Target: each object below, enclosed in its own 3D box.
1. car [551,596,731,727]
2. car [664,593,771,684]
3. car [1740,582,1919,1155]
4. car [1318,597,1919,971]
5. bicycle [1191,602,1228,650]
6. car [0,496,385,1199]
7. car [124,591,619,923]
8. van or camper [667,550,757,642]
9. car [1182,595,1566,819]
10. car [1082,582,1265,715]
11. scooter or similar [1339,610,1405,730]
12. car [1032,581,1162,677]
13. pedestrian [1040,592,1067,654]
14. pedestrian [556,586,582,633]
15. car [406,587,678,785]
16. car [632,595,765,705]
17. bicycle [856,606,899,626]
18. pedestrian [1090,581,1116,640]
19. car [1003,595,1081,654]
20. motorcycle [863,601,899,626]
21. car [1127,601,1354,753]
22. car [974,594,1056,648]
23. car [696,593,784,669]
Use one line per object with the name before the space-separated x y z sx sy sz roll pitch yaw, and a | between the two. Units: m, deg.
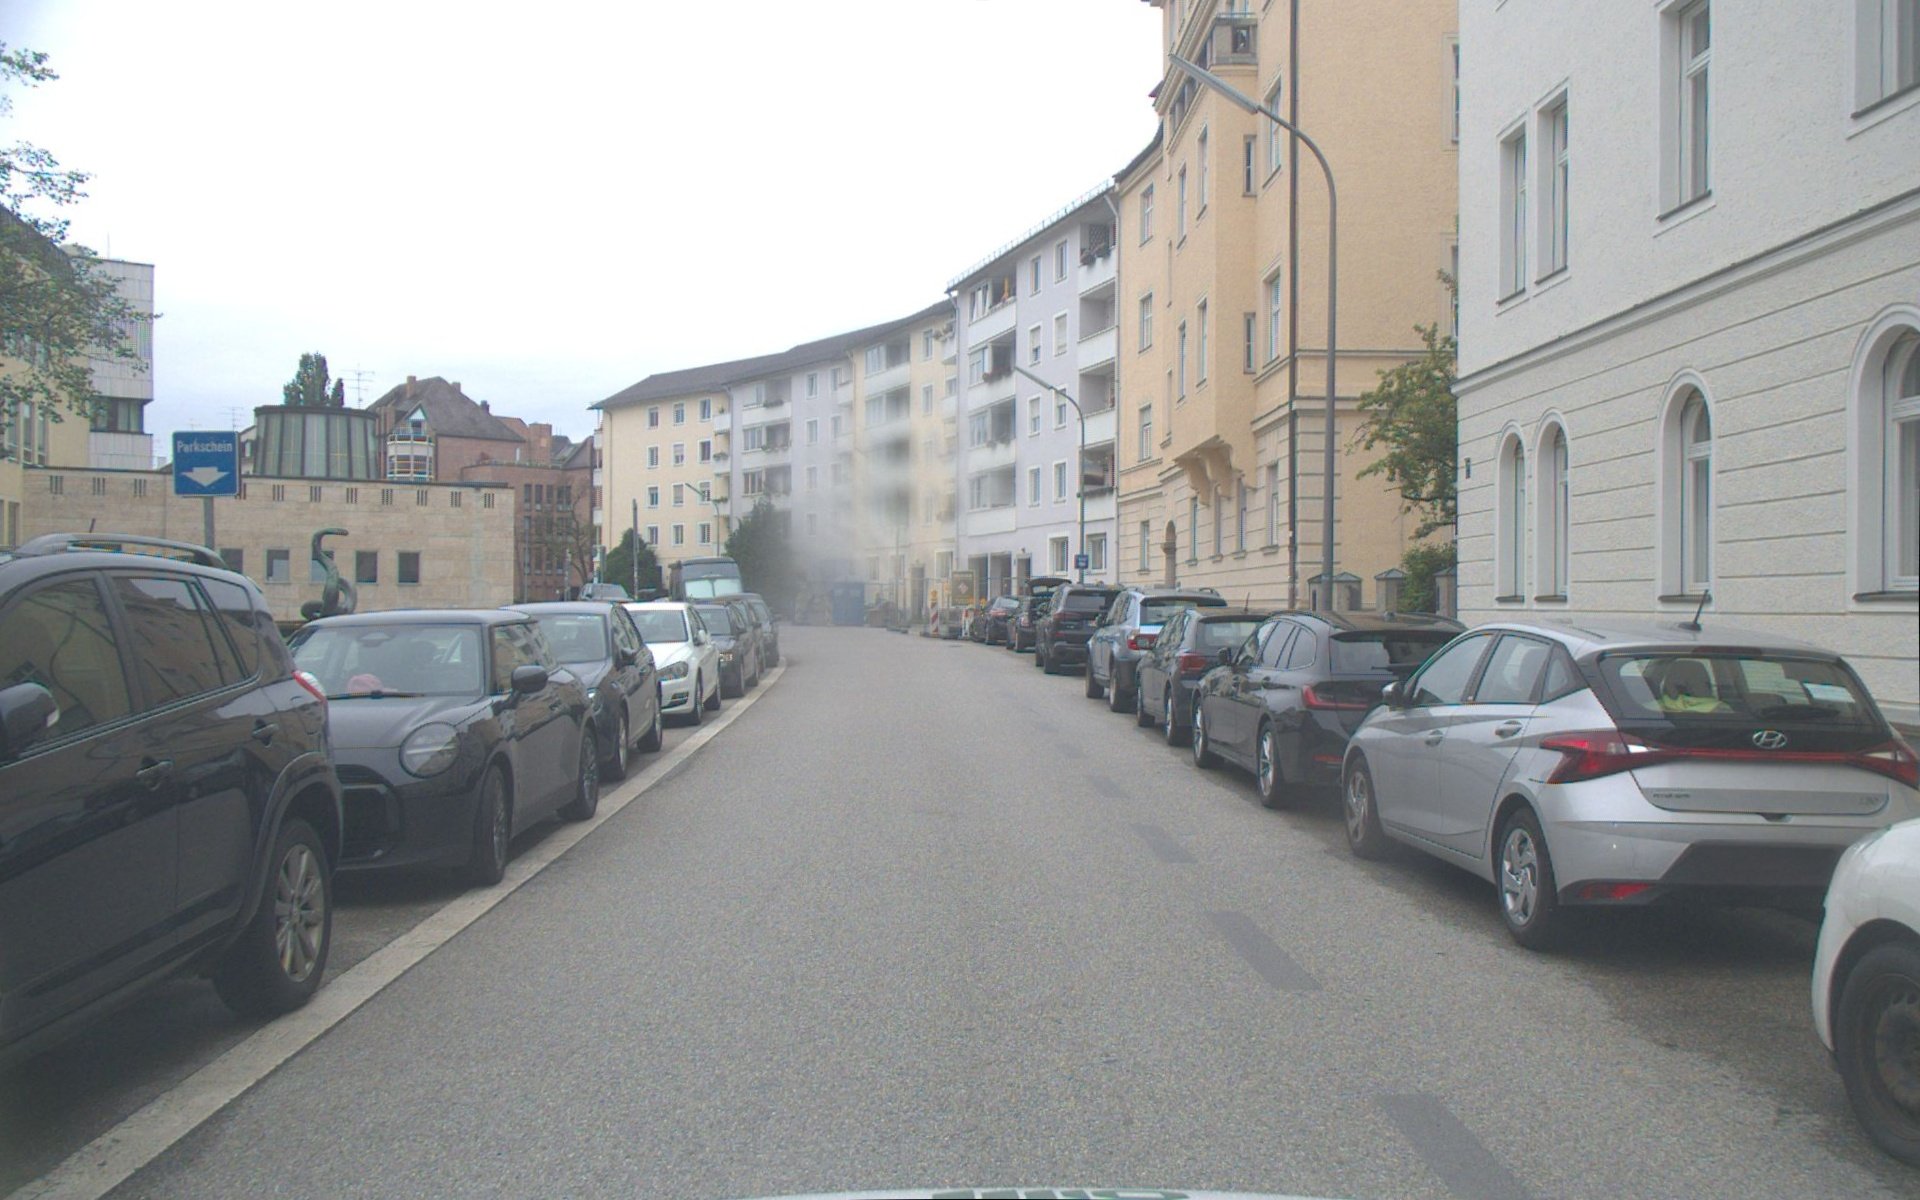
car | -3.927 0.692 20.979 1.706 1.447 4.291 1 0 -4
car | -4.453 0.666 30.779 1.598 1.520 3.601 -2 0 -3
car | 3.512 0.761 3.522 1.618 1.570 3.991 1 0 -3
car | 3.307 0.753 8.823 1.690 1.475 4.185 1 0 -3
bicycle | 5.794 0.594 38.471 0.491 1.067 2.138 -2 0 0
car | -3.155 0.621 4.644 1.680 1.719 4.140 -1 0 -1
car | -3.210 0.739 9.835 1.598 1.520 3.819 -2 0 -1
van or camper | -7.739 -0.153 51.091 2.257 2.626 6.066 1 0 -13
car | 3.144 0.725 13.624 1.838 1.475 4.676 1 0 -2
car | 2.934 0.612 23.639 1.809 1.692 4.496 1 0 -3
scooter or similar | 4.476 0.743 18.005 0.418 1.251 1.047 1 0 -1
car | 2.712 0.533 33.898 2.126 1.769 5.023 1 0 -1
pedestrian | 2.390 0.582 42.347 0.616 1.555 0.578 1 0 -3
pedestrian | -15.877 0.399 67.178 0.833 1.899 0.707 1 0 -30
car | -3.581 0.660 14.860 1.598 1.520 4.098 1 0 -3
car | -4.041 0.714 26.113 1.598 1.520 4.272 -2 0 -3
bicycle | -4.507 0.868 90.571 2.205 1.088 0.912 1 0 -26
pedestrian | 4.221 0.310 48.868 0.605 1.720 0.919 -3 0 -2
car | 2.146 0.625 44.094 1.599 1.442 3.676 1 0 -4
motorcycle | -3.930 0.656 82.567 0.920 1.242 2.487 1 0 -25
car | 3.061 0.786 18.854 1.790 1.475 4.083 1 0 -1
car | 1.607 0.587 50.347 1.871 1.503 4.941 1 0 -5
car | -4.739 0.617 36.043 1.740 1.491 4.460 -2 0 -6
